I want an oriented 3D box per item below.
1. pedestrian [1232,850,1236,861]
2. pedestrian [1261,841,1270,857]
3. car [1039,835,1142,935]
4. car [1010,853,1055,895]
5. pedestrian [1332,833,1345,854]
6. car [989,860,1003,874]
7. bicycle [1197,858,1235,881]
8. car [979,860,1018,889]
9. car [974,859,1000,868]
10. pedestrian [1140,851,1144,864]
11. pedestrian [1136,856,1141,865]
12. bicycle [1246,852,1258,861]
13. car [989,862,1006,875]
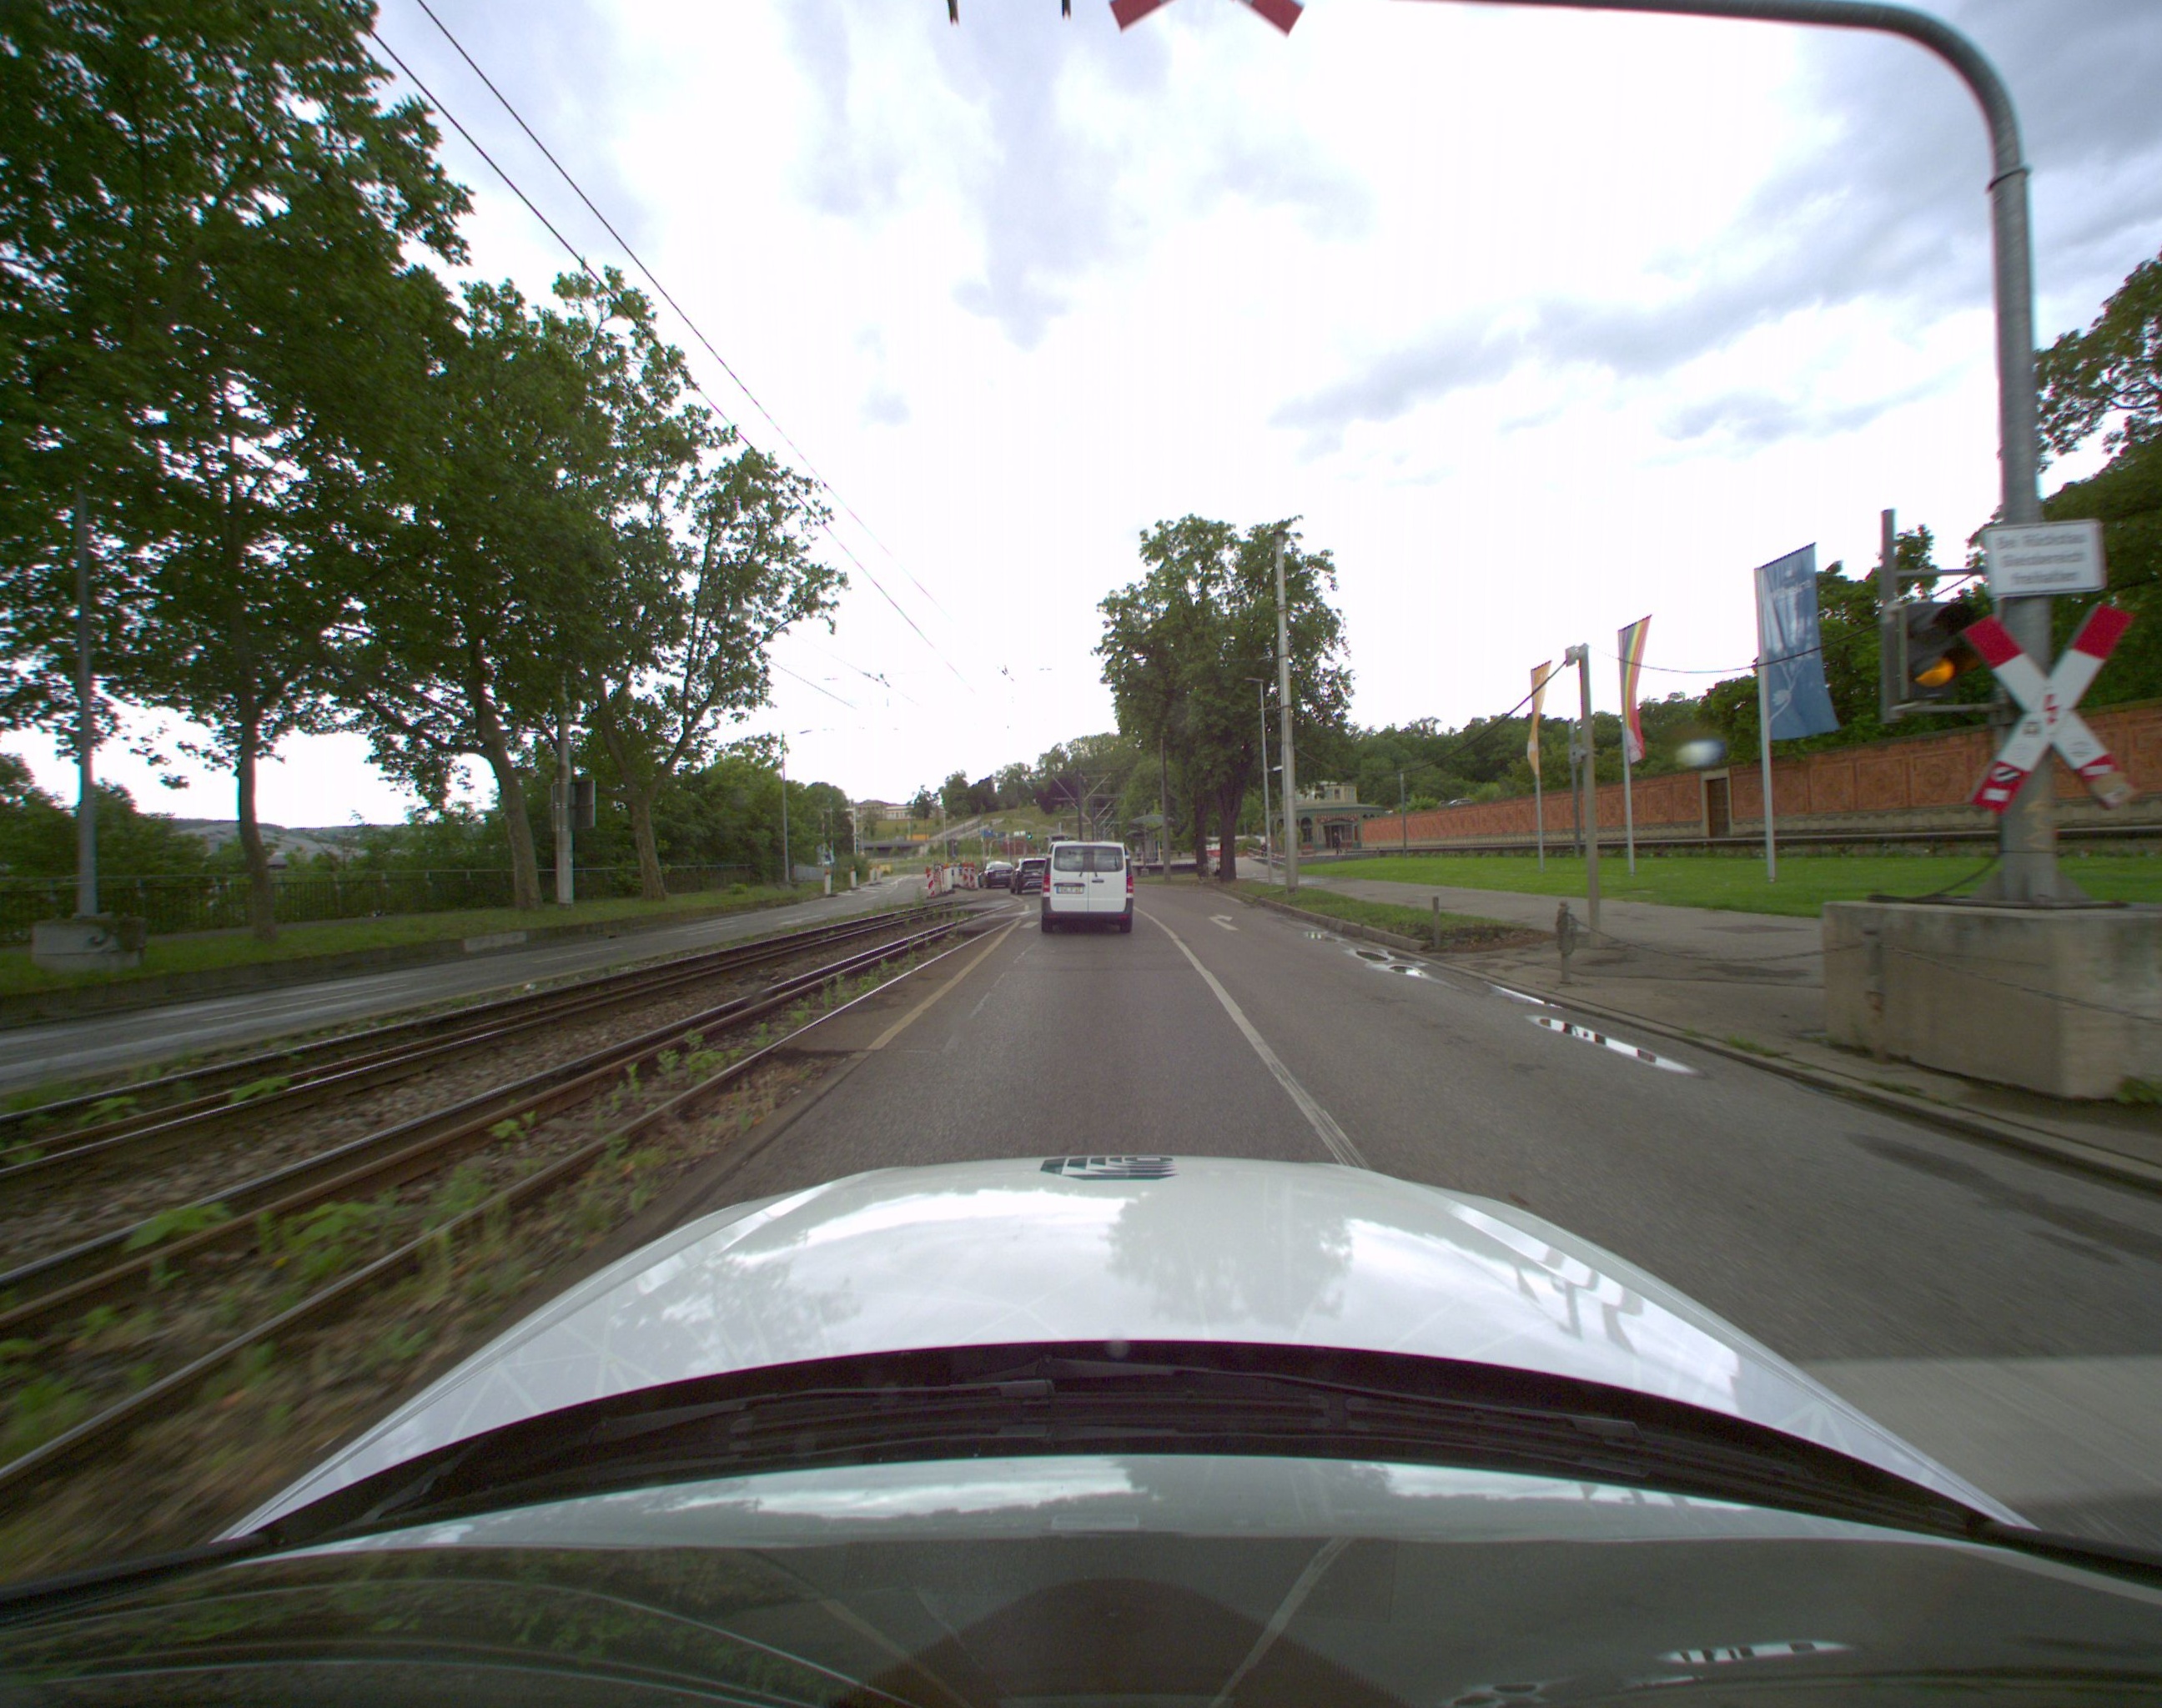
[{"bbox_3d":[21.176,0.178,112.503,0.483,1.487,0.460,-1,-1,5],"label":"pedestrian"},{"bbox_3d":[14.578,-0.399,64.291,0.547,1.201,0.668,0,-1,-4],"label":"pedestrian"},{"bbox_3d":[0.115,0.644,18.006,1.954,1.904,4.457,-1,-1,-2],"label":"car"},{"bbox_3d":[-2.216,0.884,36.149,1.836,1.729,4.054,-1,-1,-6],"label":"car"},{"bbox_3d":[22.139,-0.898,69.978,0.940,1.838,0.553,-1,-2,24],"label":"pedestrian"},{"bbox_3d":[-12.541,1.939,120.385,1.930,2.014,3.994,0,-1,-4],"label":"car"},{"bbox_3d":[7.456,0.847,44.907,1.981,1.158,0.742,-3,-1,6],"label":"bicycle"},{"bbox_3d":[-4.761,1.173,46.694,1.839,1.582,4.046,-1,-1,-11],"label":"car"},{"bbox_3d":[-18.736,1.966,161.799,4.677,1.477,2.007,-4,0,12],"label":"car"},{"bbox_3d":[7.702,0.399,102.889,0.522,1.620,0.676,-1,-1,4],"label":"pedestrian"},{"bbox_3d":[7.327,0.829,104.245,0.654,1.191,0.676,-1,-1,4],"label":"pedestrian"},{"bbox_3d":[21.593,0.352,102.925,0.565,1.061,1.700,0,-1,-28],"label":"bicycle"},{"bbox_3d":[-10.058,1.754,97.850,1.838,1.467,4.048,-1,-1,-10],"label":"car"}]
